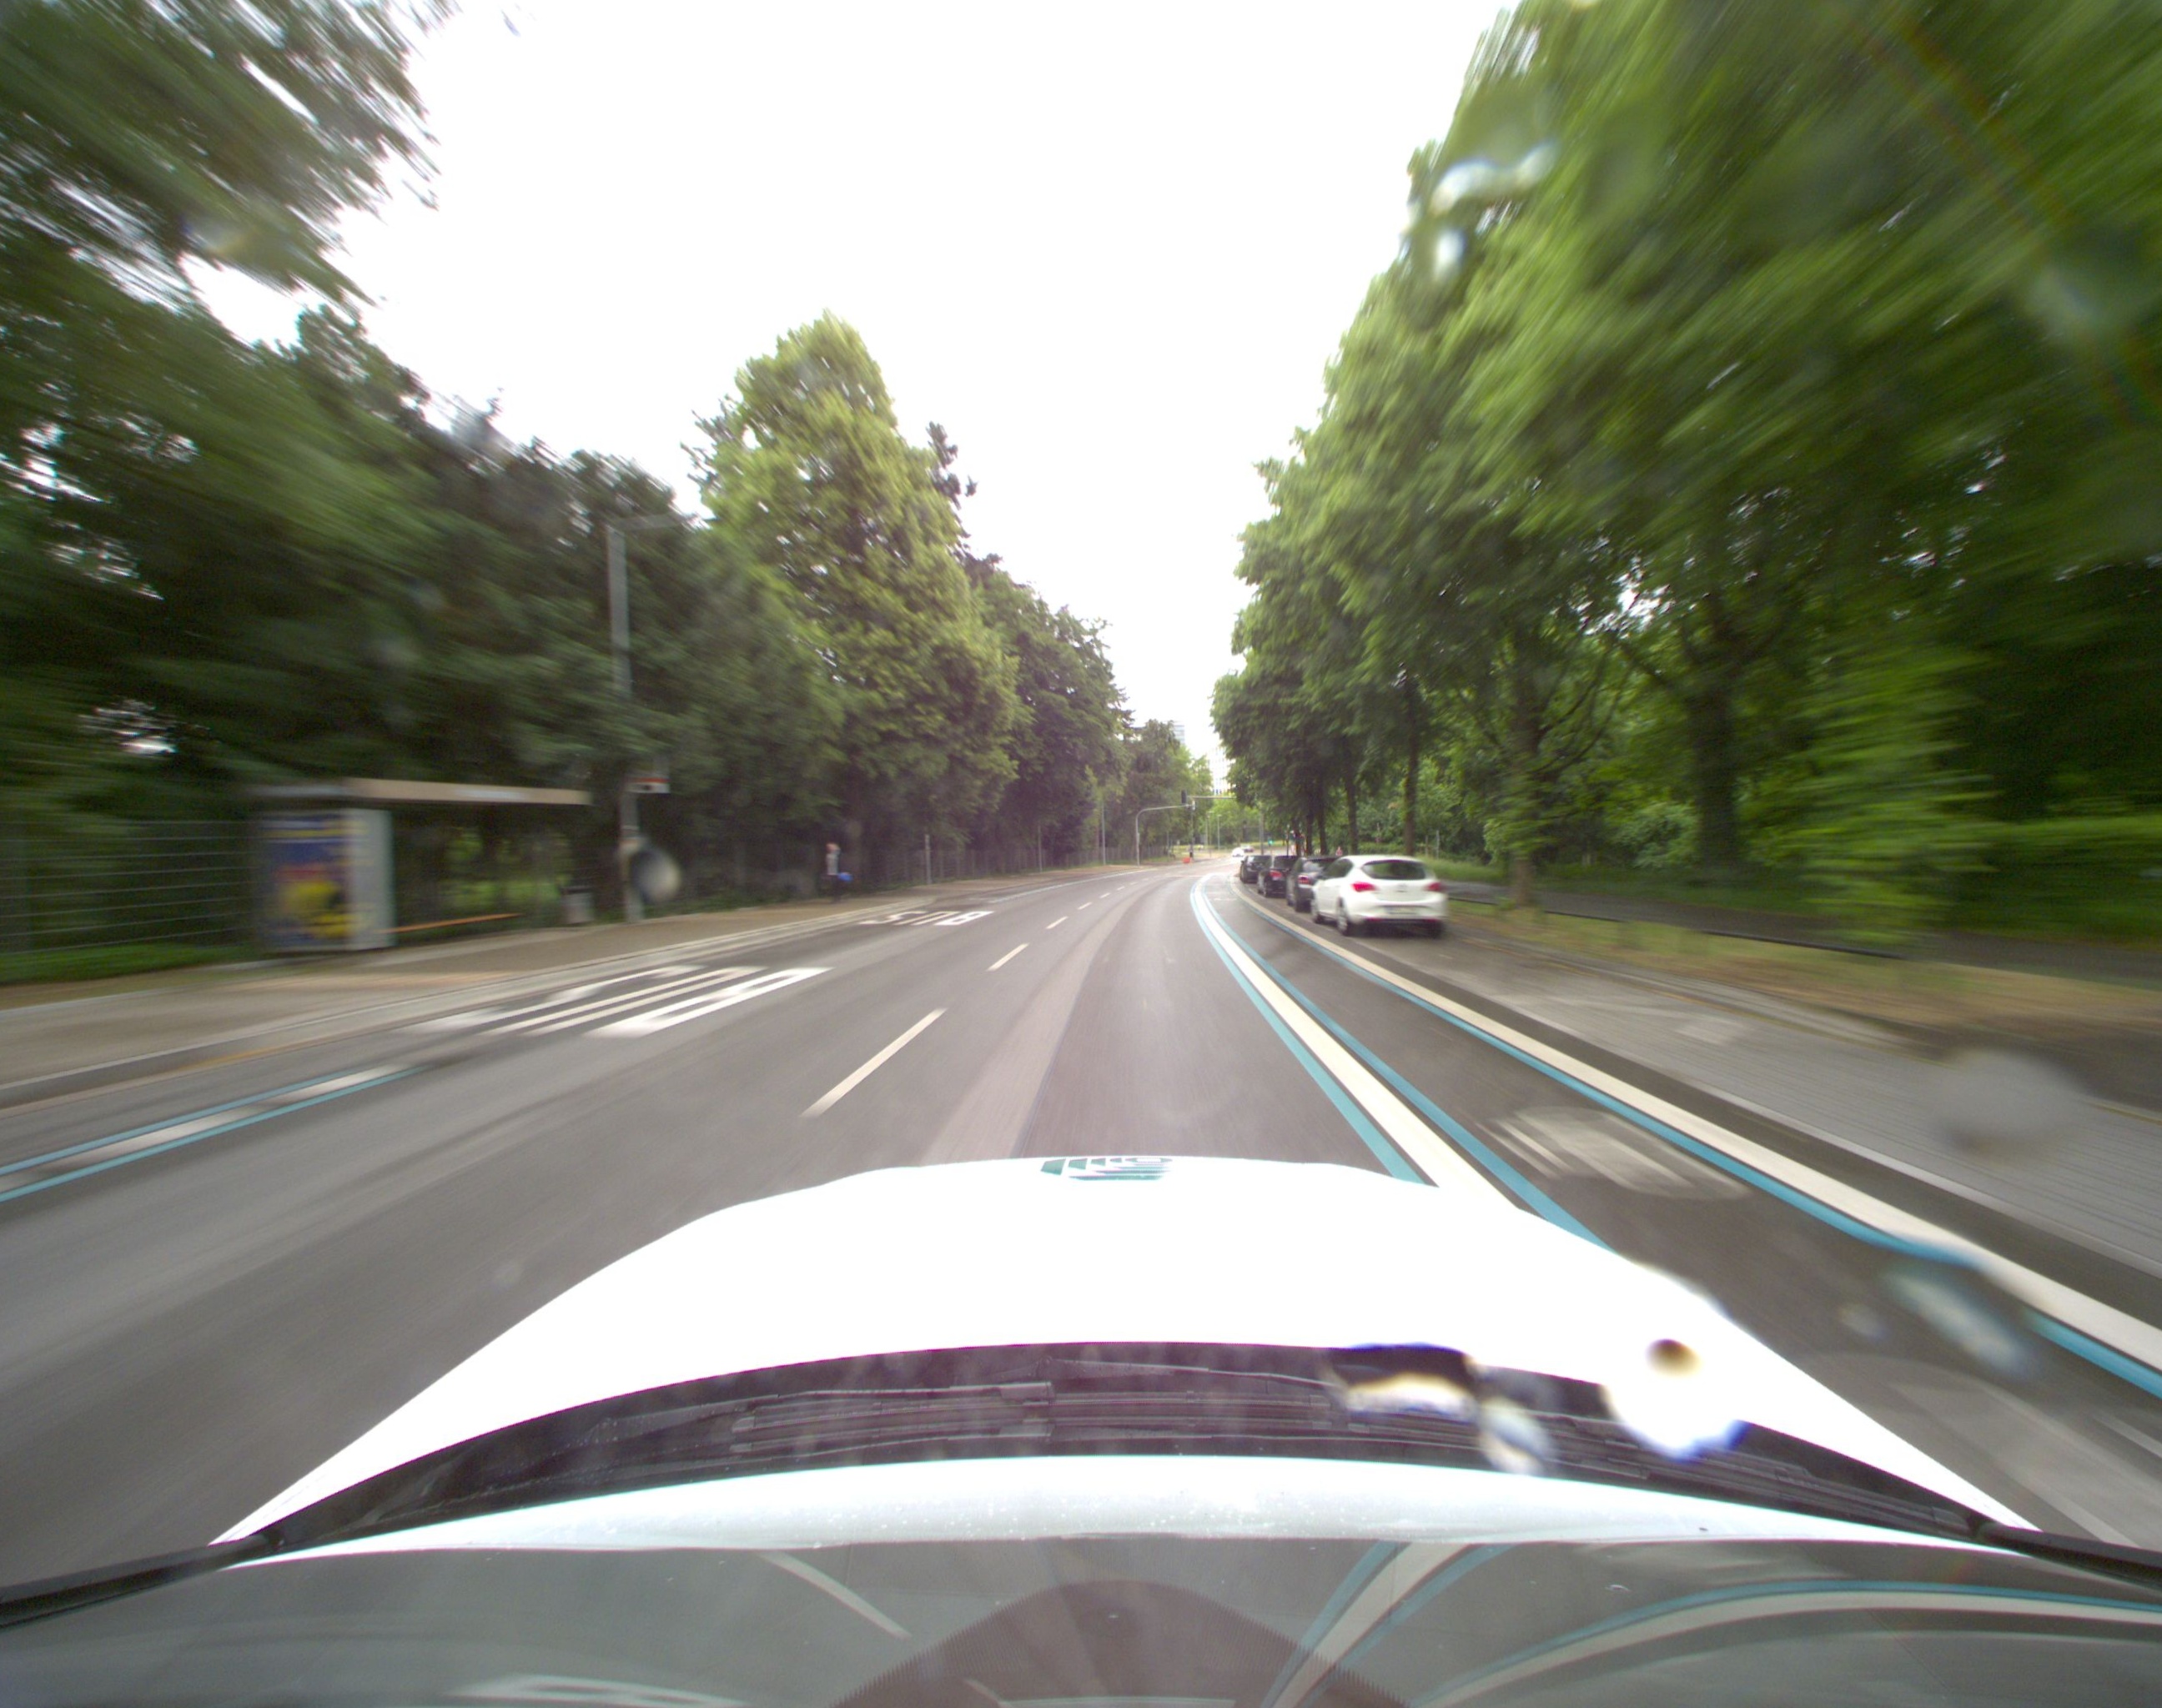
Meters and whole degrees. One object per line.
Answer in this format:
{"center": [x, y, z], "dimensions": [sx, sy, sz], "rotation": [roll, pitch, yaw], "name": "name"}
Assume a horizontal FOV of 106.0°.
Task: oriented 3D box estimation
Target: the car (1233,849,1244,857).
{"center": [30.377, -0.256, 156.994], "dimensions": [1.829, 1.457, 4.519], "rotation": [-1, 1, 16], "name": "car"}

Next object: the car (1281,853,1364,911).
{"center": [6.555, 0.706, 22.464], "dimensions": [1.673, 1.428, 4.329], "rotation": [0, 0, 9], "name": "car"}

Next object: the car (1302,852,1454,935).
{"center": [5.778, 0.695, 16.453], "dimensions": [1.850, 1.428, 4.658], "rotation": [0, 0, 6], "name": "car"}

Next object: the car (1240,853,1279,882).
{"center": [9.390, 0.696, 43.172], "dimensions": [1.689, 1.420, 4.774], "rotation": [1, 0, 8], "name": "car"}

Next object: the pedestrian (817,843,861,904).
{"center": [-7.065, 0.544, 23.800], "dimensions": [0.883, 1.733, 1.146], "rotation": [-1, 0, 2], "name": "pedestrian"}

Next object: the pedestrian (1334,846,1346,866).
{"center": [23.160, 0.178, 72.925], "dimensions": [0.881, 1.733, 1.149], "rotation": [-1, 0, 10], "name": "pedestrian"}

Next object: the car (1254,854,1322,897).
{"center": [7.369, 0.714, 29.397], "dimensions": [1.772, 1.407, 4.855], "rotation": [0, 0, 7], "name": "car"}
